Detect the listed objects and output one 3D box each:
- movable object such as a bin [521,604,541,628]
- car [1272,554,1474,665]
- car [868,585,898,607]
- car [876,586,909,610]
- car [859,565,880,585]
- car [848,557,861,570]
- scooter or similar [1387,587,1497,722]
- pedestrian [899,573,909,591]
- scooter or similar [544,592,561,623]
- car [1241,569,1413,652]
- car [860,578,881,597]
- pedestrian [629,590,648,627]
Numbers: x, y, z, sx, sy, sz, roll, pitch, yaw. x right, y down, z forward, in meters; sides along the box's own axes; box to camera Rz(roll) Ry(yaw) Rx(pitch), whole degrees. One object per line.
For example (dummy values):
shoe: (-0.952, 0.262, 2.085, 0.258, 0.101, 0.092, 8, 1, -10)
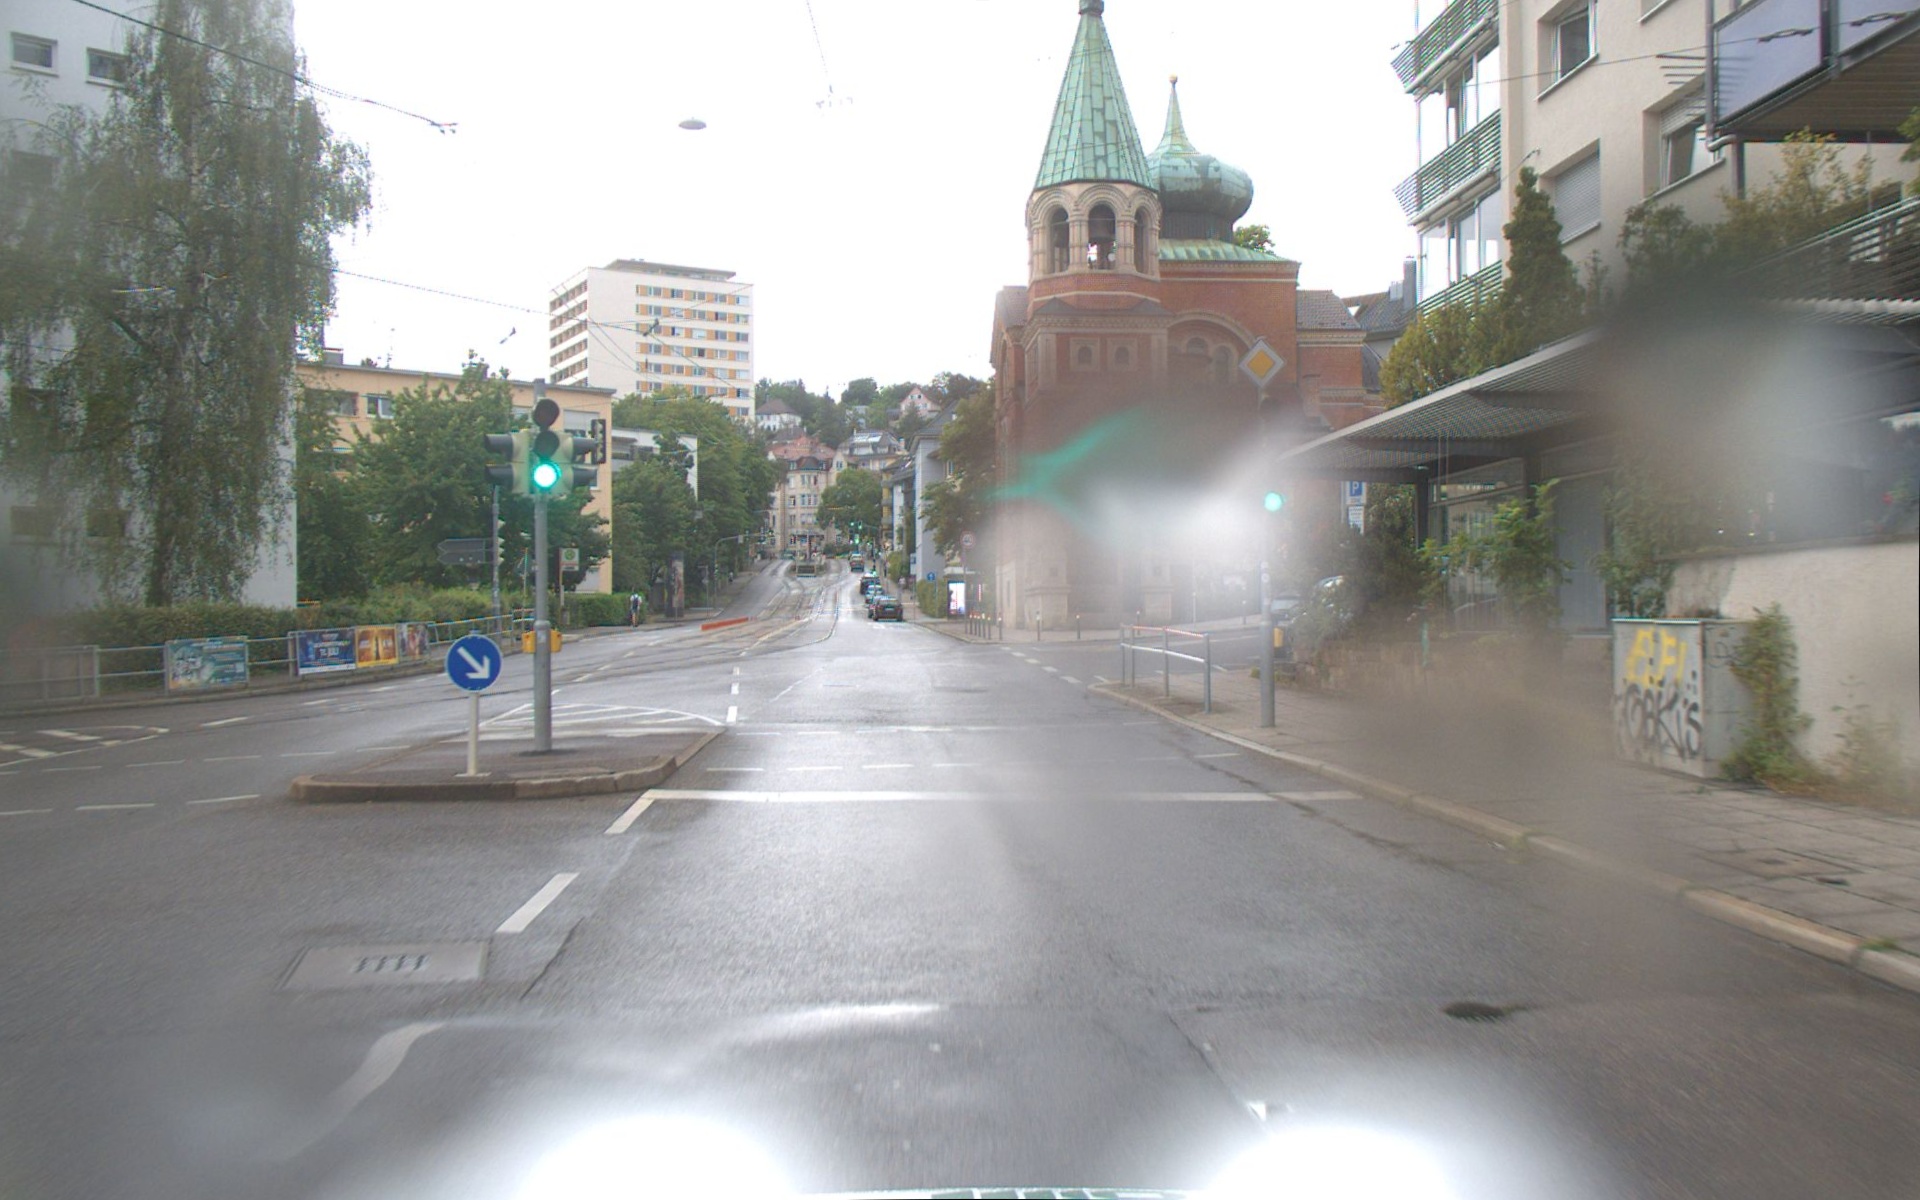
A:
movable object such as a bin: (-16.593, 0.626, 64.037, 0.674, 0.897, 0.759, 0, -1, -10)
car: (6.509, 0.177, 26.598, 1.817, 1.529, 4.445, -3, -1, -4)
car: (-5.541, -0.307, 118.138, 1.902, 1.489, 4.201, 0, 0, -6)
car: (-4.338, -0.144, 105.991, 1.822, 1.513, 4.640, 0, 0, -5)
car: (-8.671, -2.401, 158.753, 1.869, 1.670, 4.686, 1, 3, -5)
car: (-13.801, -4.711, 216.317, 1.766, 1.674, 3.997, 0, 1, -4)
scooter or similar: (5.200, 0.557, 17.935, 0.524, 1.350, 1.658, -5, 0, -3)
pedestrian: (-5.354, -1.704, 158.429, 0.865, 1.610, 0.801, -2, 4, -2)
scooter or similar: (-16.244, 0.301, 65.889, 0.562, 1.205, 1.595, 0, -1, -11)
car: (8.268, 0.174, 37.015, 1.965, 1.482, 4.428, 0, 4, 40)
car: (-7.701, -1.092, 142.250, 1.671, 1.458, 4.098, 1, 3, -5)
pedestrian: (-16.537, 0.451, 85.107, 0.902, 1.878, 1.015, 1, -1, -8)
